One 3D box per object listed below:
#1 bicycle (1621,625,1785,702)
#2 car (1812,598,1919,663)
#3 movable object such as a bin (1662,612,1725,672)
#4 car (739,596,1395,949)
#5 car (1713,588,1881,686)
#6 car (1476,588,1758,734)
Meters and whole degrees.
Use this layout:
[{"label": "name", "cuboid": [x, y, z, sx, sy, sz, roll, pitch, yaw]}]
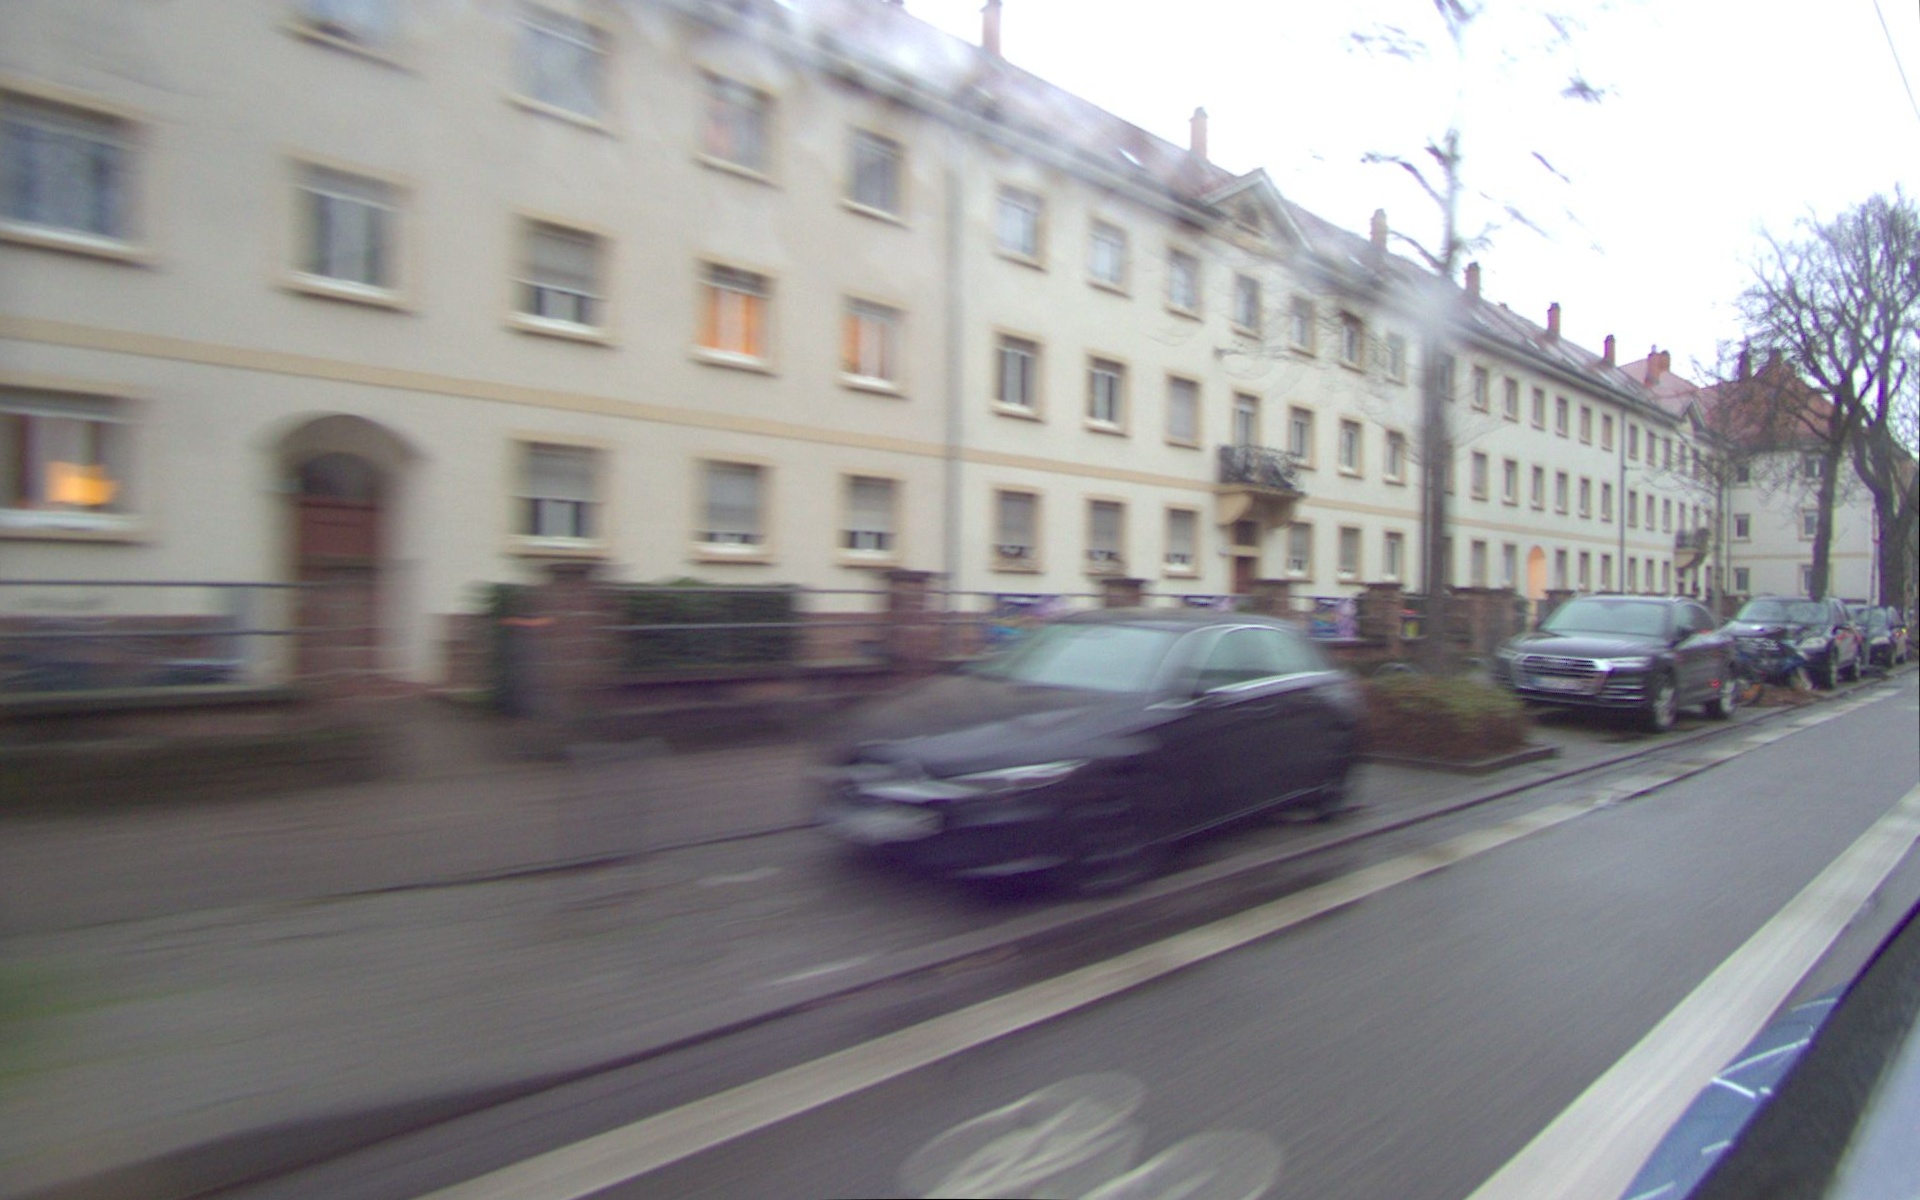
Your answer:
[{"label": "bicycle", "cuboid": [11.819, 0.978, 16.172, 0.455, 0.927, 2.022, 1, 5, -34]}, {"label": "car", "cuboid": [23.863, 0.740, 26.508, 3.918, 1.528, 1.788, 0, 1, -41]}, {"label": "movable object such as a bin", "cuboid": [13.114, 0.738, 18.103, 0.752, 0.965, 0.560, 8, 5, 44]}, {"label": "car", "cuboid": [0.952, 0.722, 6.431, 4.273, 1.437, 1.880, 0, 1, -45]}, {"label": "car", "cuboid": [17.039, 0.655, 20.513, 4.817, 1.749, 1.909, 0, 1, -41]}, {"label": "car", "cuboid": [8.884, 0.679, 13.539, 4.479, 1.630, 1.910, 0, 1, -39]}]
